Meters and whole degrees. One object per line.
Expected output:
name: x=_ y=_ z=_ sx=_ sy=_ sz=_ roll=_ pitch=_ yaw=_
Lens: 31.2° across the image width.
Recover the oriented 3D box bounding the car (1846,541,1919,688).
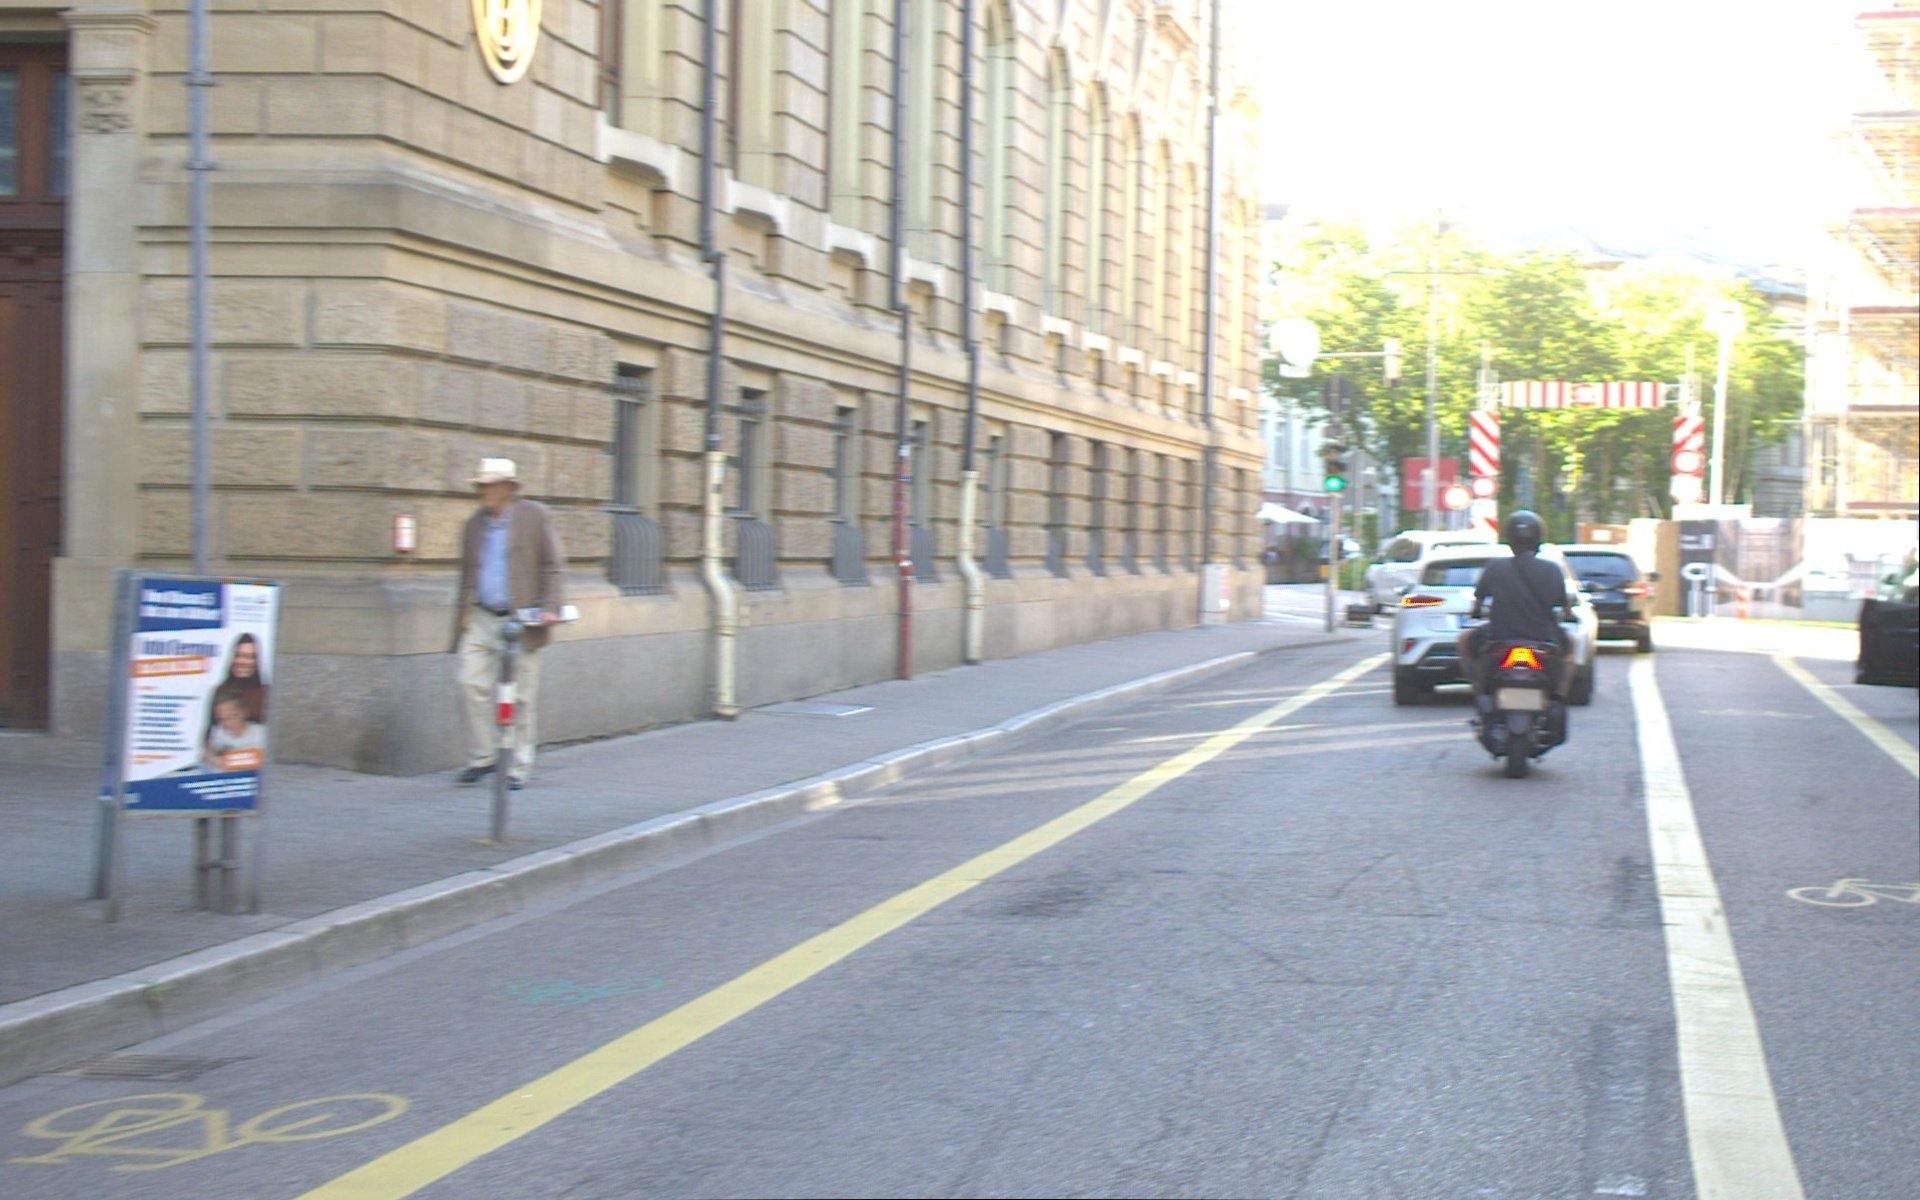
car: x=12.337 y=0.165 z=43.328 sx=1.825 sy=1.693 sz=4.665 roll=3 pitch=2 yaw=10

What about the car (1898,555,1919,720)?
car: x=9.621 y=0.393 z=30.832 sx=1.825 sy=1.496 sz=4.735 roll=3 pitch=1 yaw=10

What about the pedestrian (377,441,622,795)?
pedestrian: x=-2.475 y=0.094 z=18.576 sx=0.842 sy=1.794 sz=1.073 roll=5 pitch=1 yaw=13

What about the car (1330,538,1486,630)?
car: x=8.896 y=-0.349 z=68.647 sx=1.993 sy=1.659 sz=4.360 roll=-2 pitch=2 yaw=-8

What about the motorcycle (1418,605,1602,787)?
motorcycle: x=3.580 y=0.599 z=22.252 sx=0.873 sy=1.105 sz=1.838 roll=1 pitch=0 yaw=18

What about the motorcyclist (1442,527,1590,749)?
motorcyclist: x=3.638 y=0.243 z=22.471 sx=0.868 sy=1.422 sz=0.455 roll=1 pitch=0 yaw=19

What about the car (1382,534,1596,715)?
car: x=4.994 y=0.198 z=32.704 sx=1.823 sy=1.536 sz=4.262 roll=2 pitch=1 yaw=8
